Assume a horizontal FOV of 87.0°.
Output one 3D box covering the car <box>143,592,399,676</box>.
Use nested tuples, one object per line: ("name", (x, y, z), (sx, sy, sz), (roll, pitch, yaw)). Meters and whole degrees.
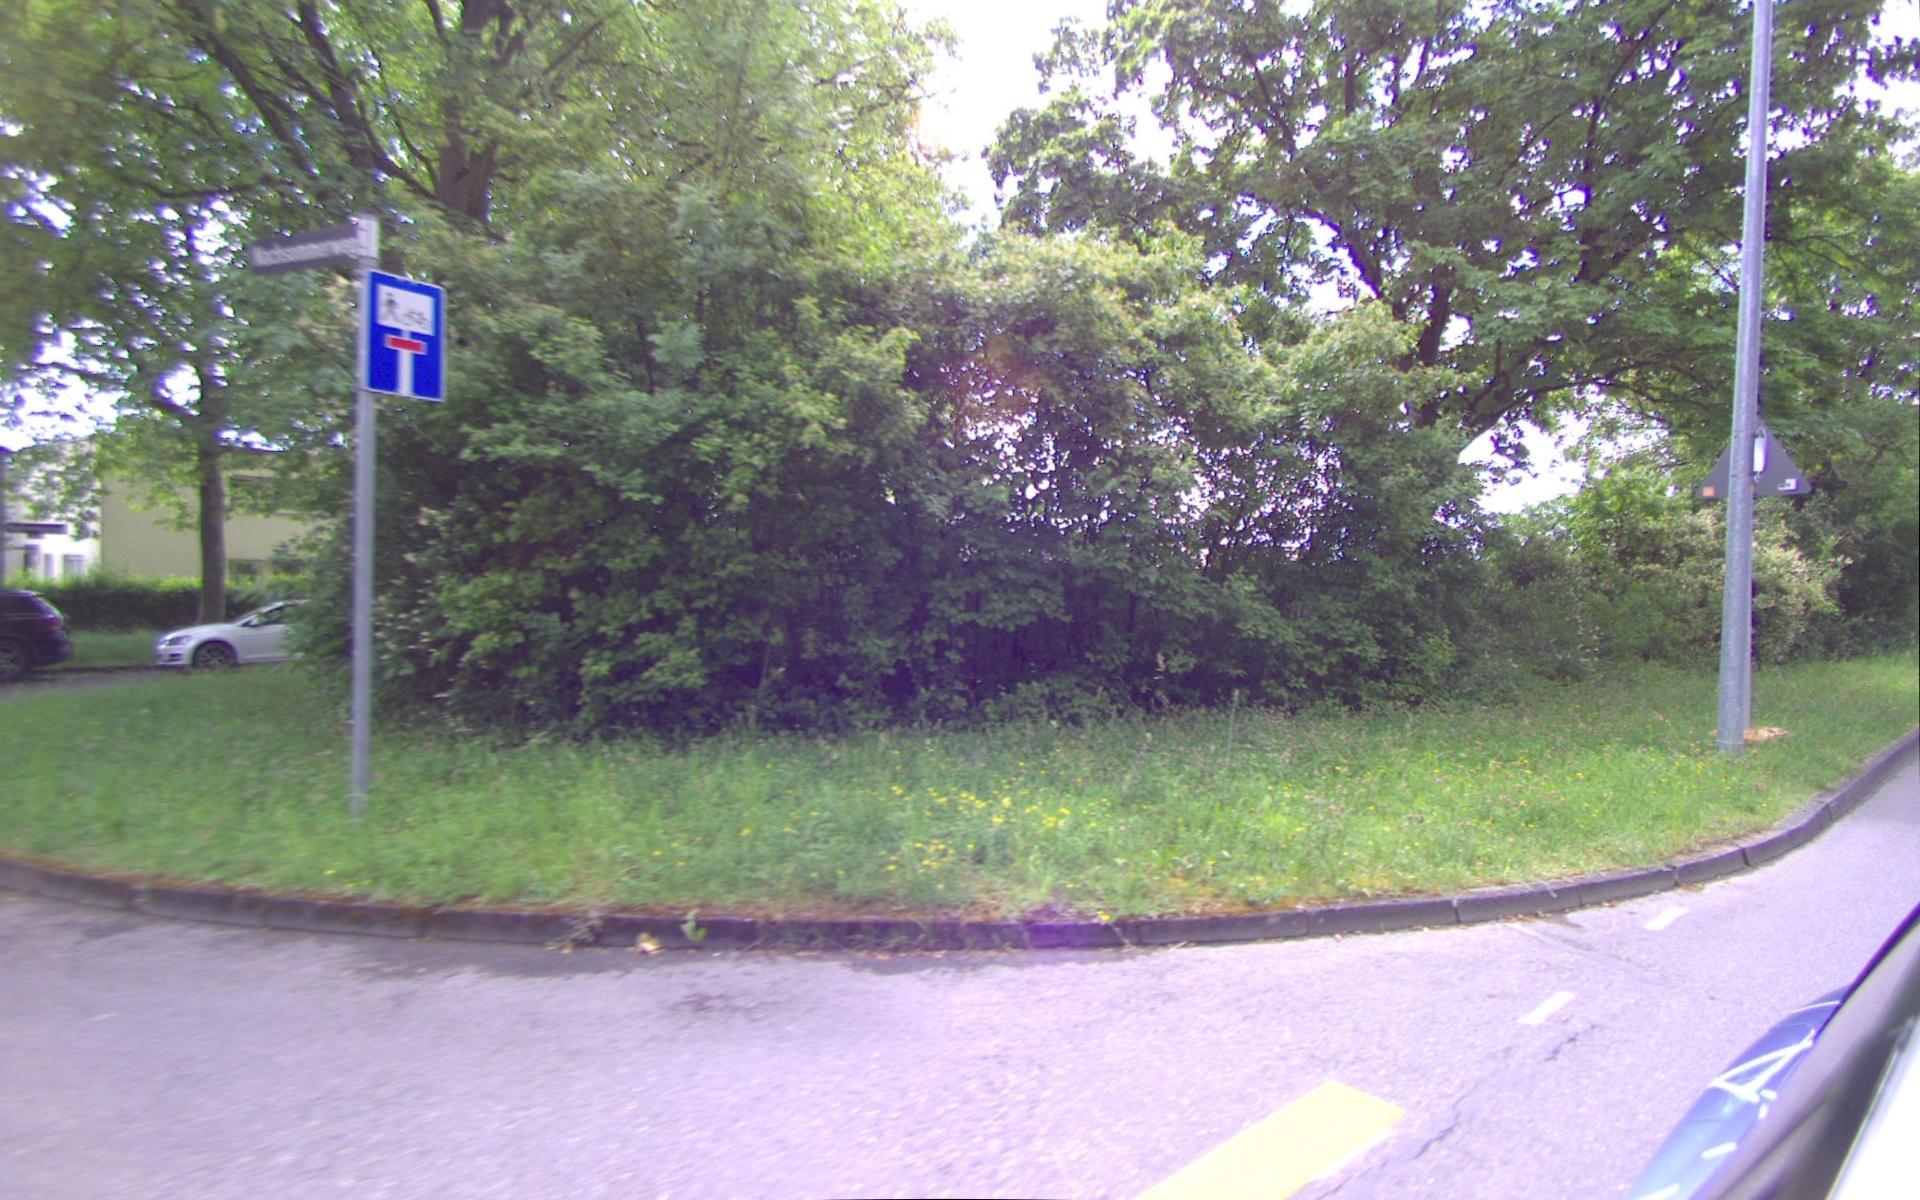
("car", (-14.103, 0.633, 20.847), (4.169, 1.504, 1.826), (1, 2, -41))

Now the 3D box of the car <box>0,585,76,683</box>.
("car", (-18.153, 0.573, 17.432), (4.368, 1.638, 1.896), (1, 2, -41))
